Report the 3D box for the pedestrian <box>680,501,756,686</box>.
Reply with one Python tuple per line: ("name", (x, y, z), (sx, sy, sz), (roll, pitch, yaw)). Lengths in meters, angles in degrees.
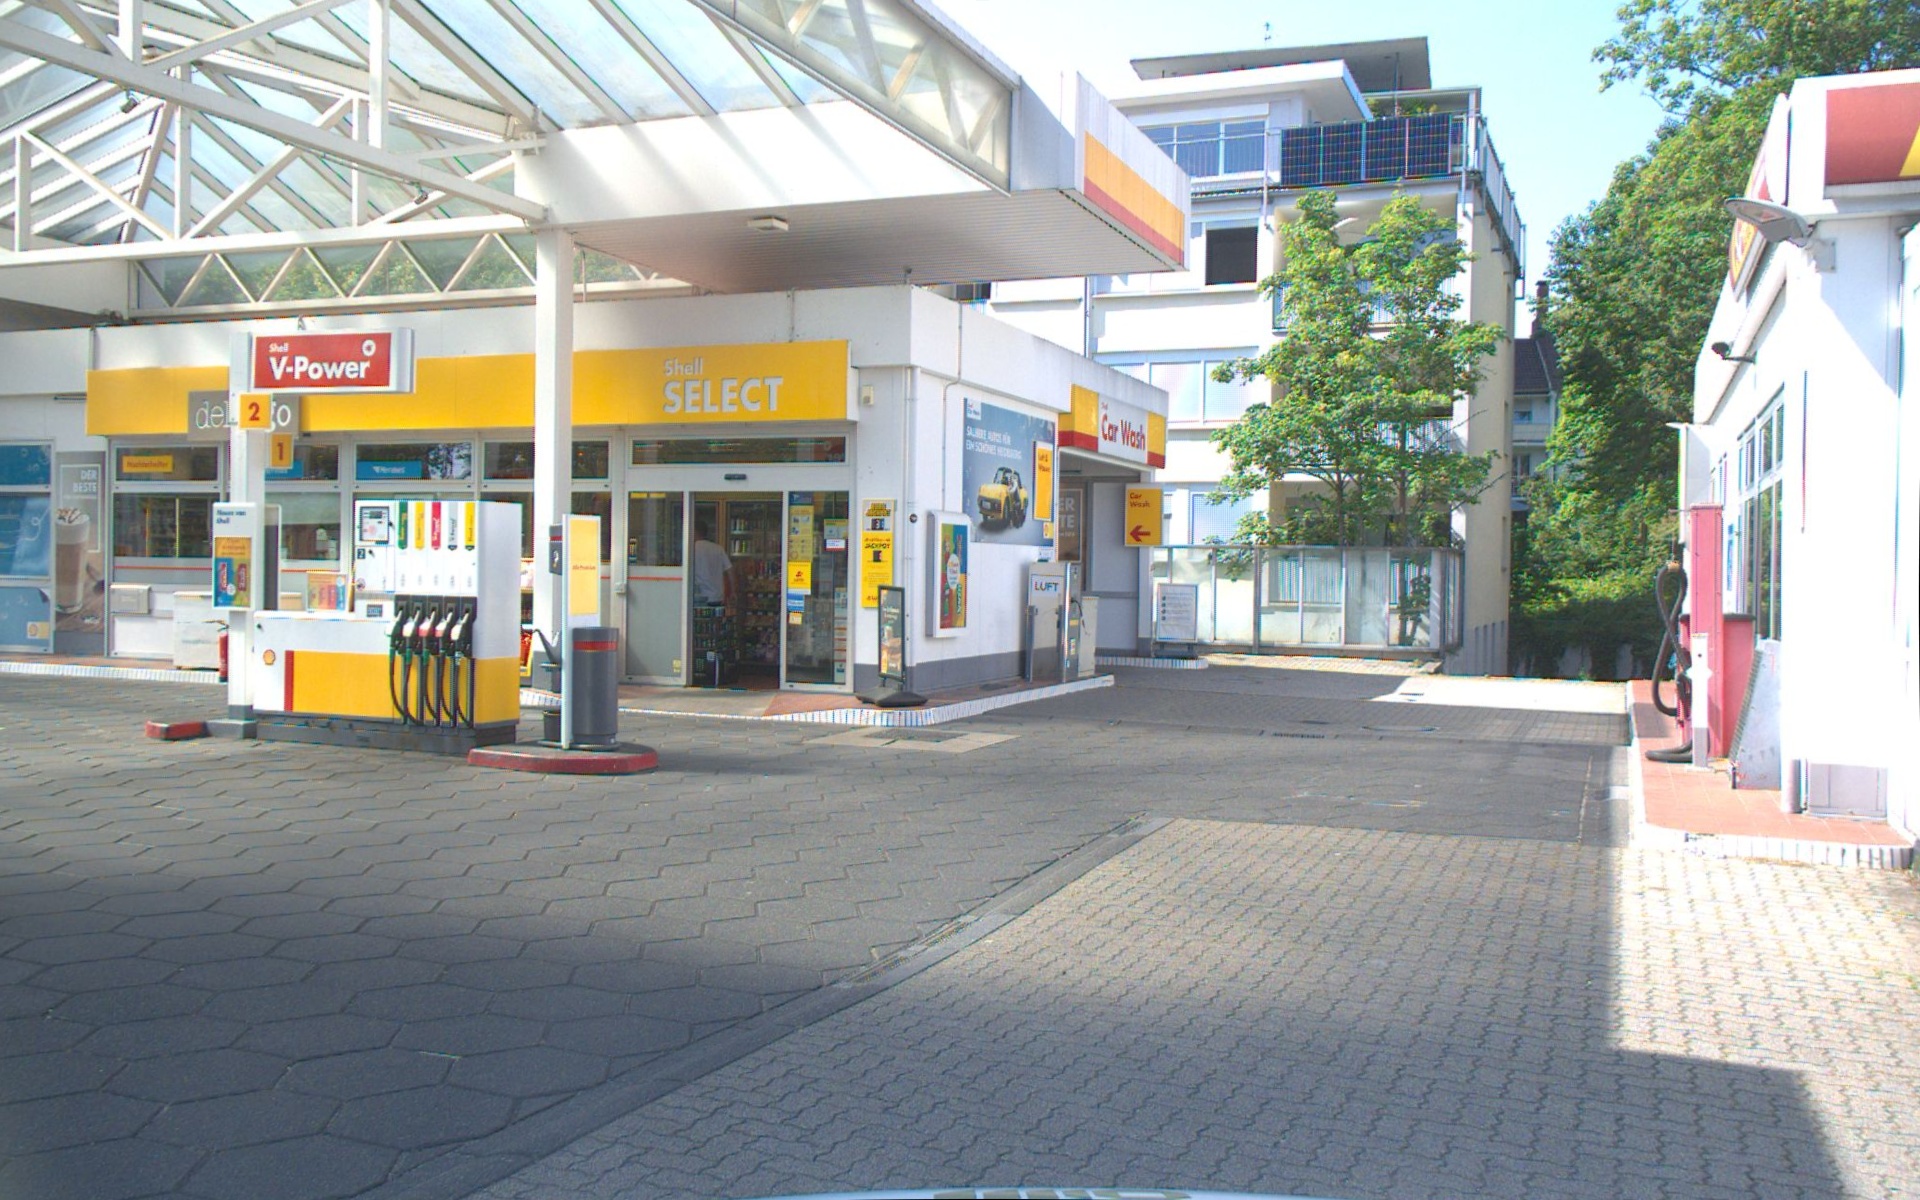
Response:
("pedestrian", (-2.744, -0.080, 18.808), (0.608, 2.049, 0.743), (1, 1, 13))
